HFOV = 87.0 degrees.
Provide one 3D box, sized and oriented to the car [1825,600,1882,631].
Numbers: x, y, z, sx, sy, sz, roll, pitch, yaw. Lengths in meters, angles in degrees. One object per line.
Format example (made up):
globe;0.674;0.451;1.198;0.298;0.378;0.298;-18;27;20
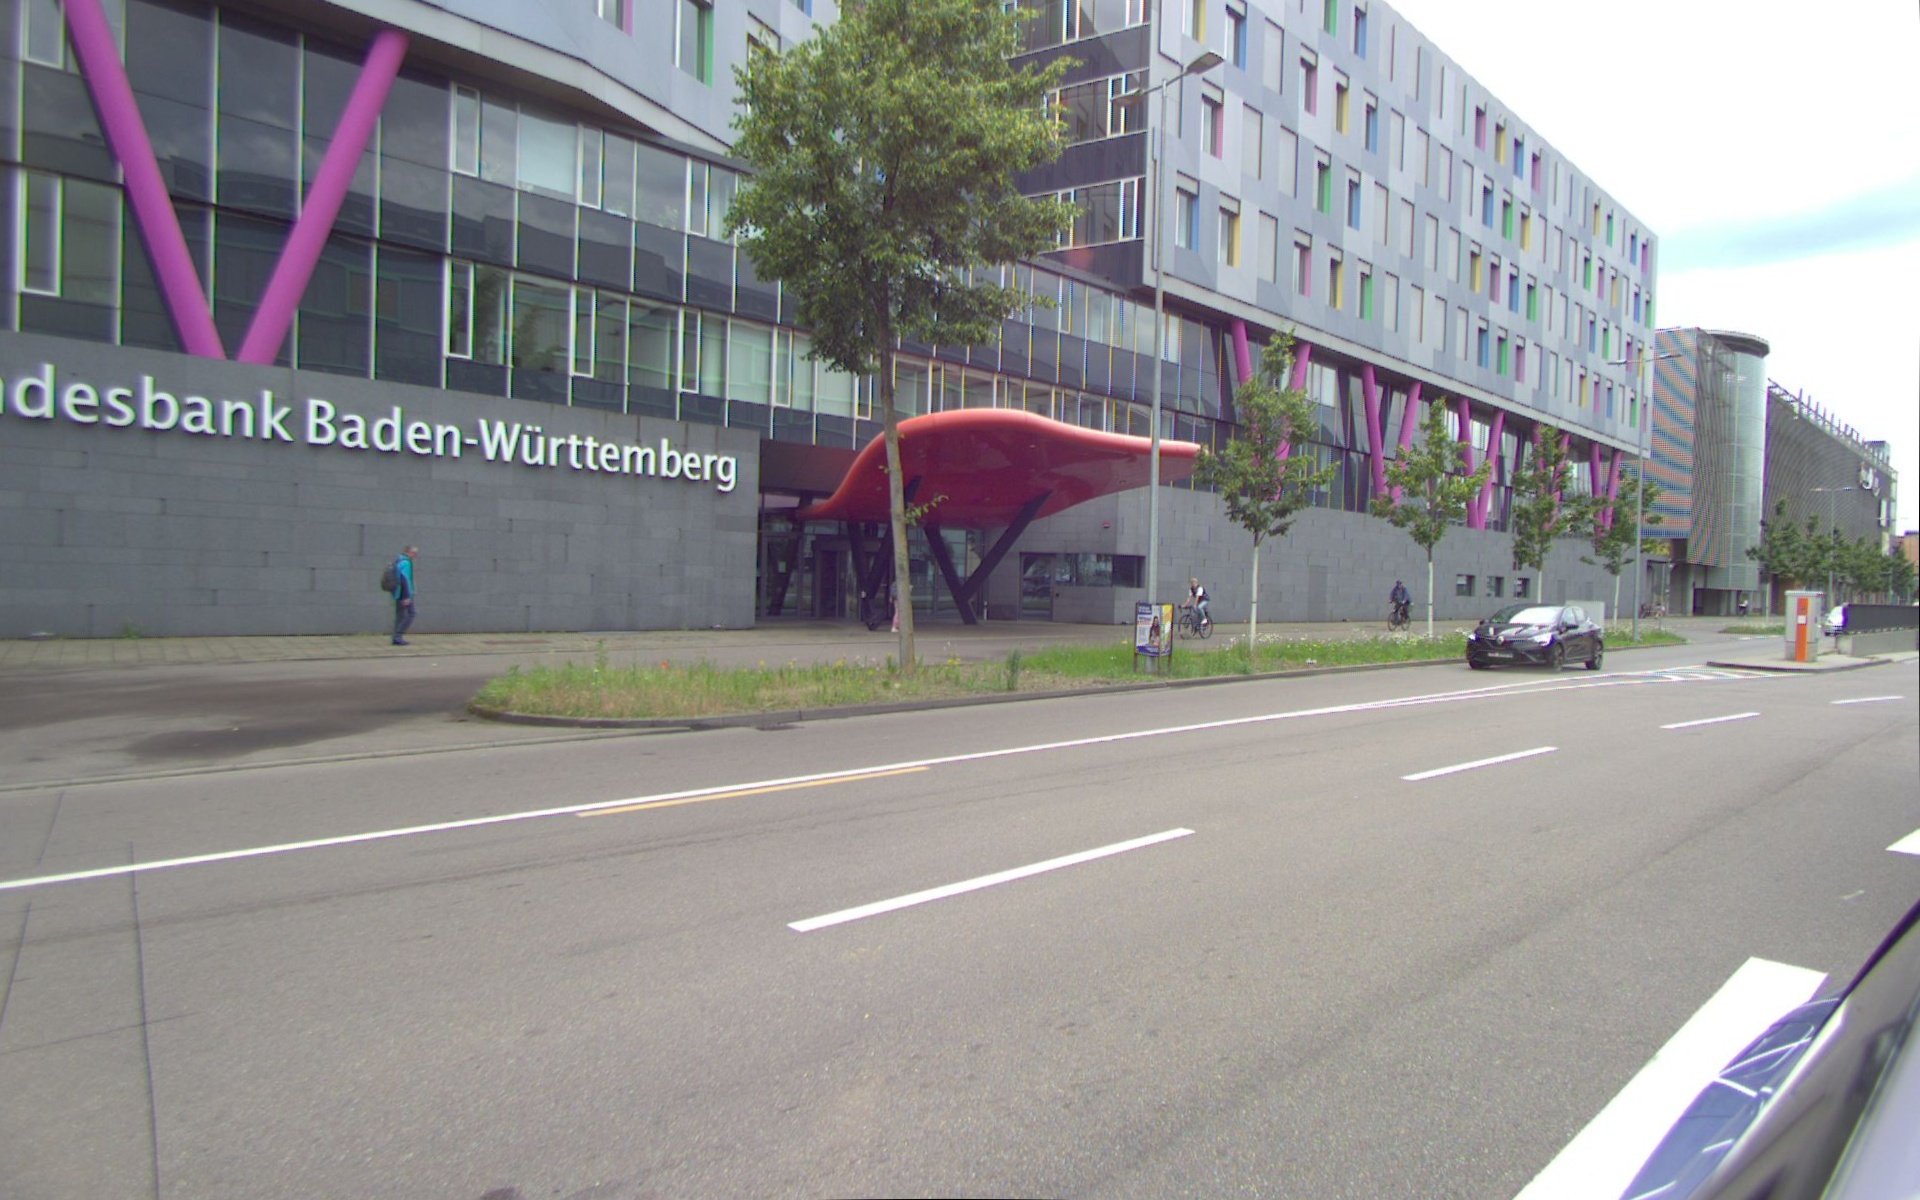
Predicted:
car;44.058;0.732;49.858;4.266;1.480;1.566;0;0;-41

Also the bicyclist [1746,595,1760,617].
bicyclist;66.283;0.463;84.583;0.958;1.809;0.771;1;1;-43

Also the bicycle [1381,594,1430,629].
bicycle;17.200;0.461;39.024;2.303;1.173;0.800;6;-3;-42

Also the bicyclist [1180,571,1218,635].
bicyclist;6.924;0.088;29.289;0.692;1.825;0.783;2;-1;-41

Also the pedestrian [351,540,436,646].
pedestrian;-9.979;-0.129;17.822;1.116;1.792;1.054;1;1;-40

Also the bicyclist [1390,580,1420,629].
bicyclist;17.148;0.172;38.982;0.692;1.826;0.783;6;-3;-41

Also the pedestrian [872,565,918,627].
pedestrian;-1.717;-0.102;26.807;0.898;1.602;0.786;1;1;-40

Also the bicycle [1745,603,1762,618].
bicycle;66.316;0.851;84.622;2.183;1.209;0.784;1;1;-44

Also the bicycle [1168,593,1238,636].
bicycle;7.081;0.428;29.422;2.304;1.173;0.800;2;0;-42

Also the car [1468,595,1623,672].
car;12.745;0.658;21.931;4.266;1.479;1.566;0;2;-41
